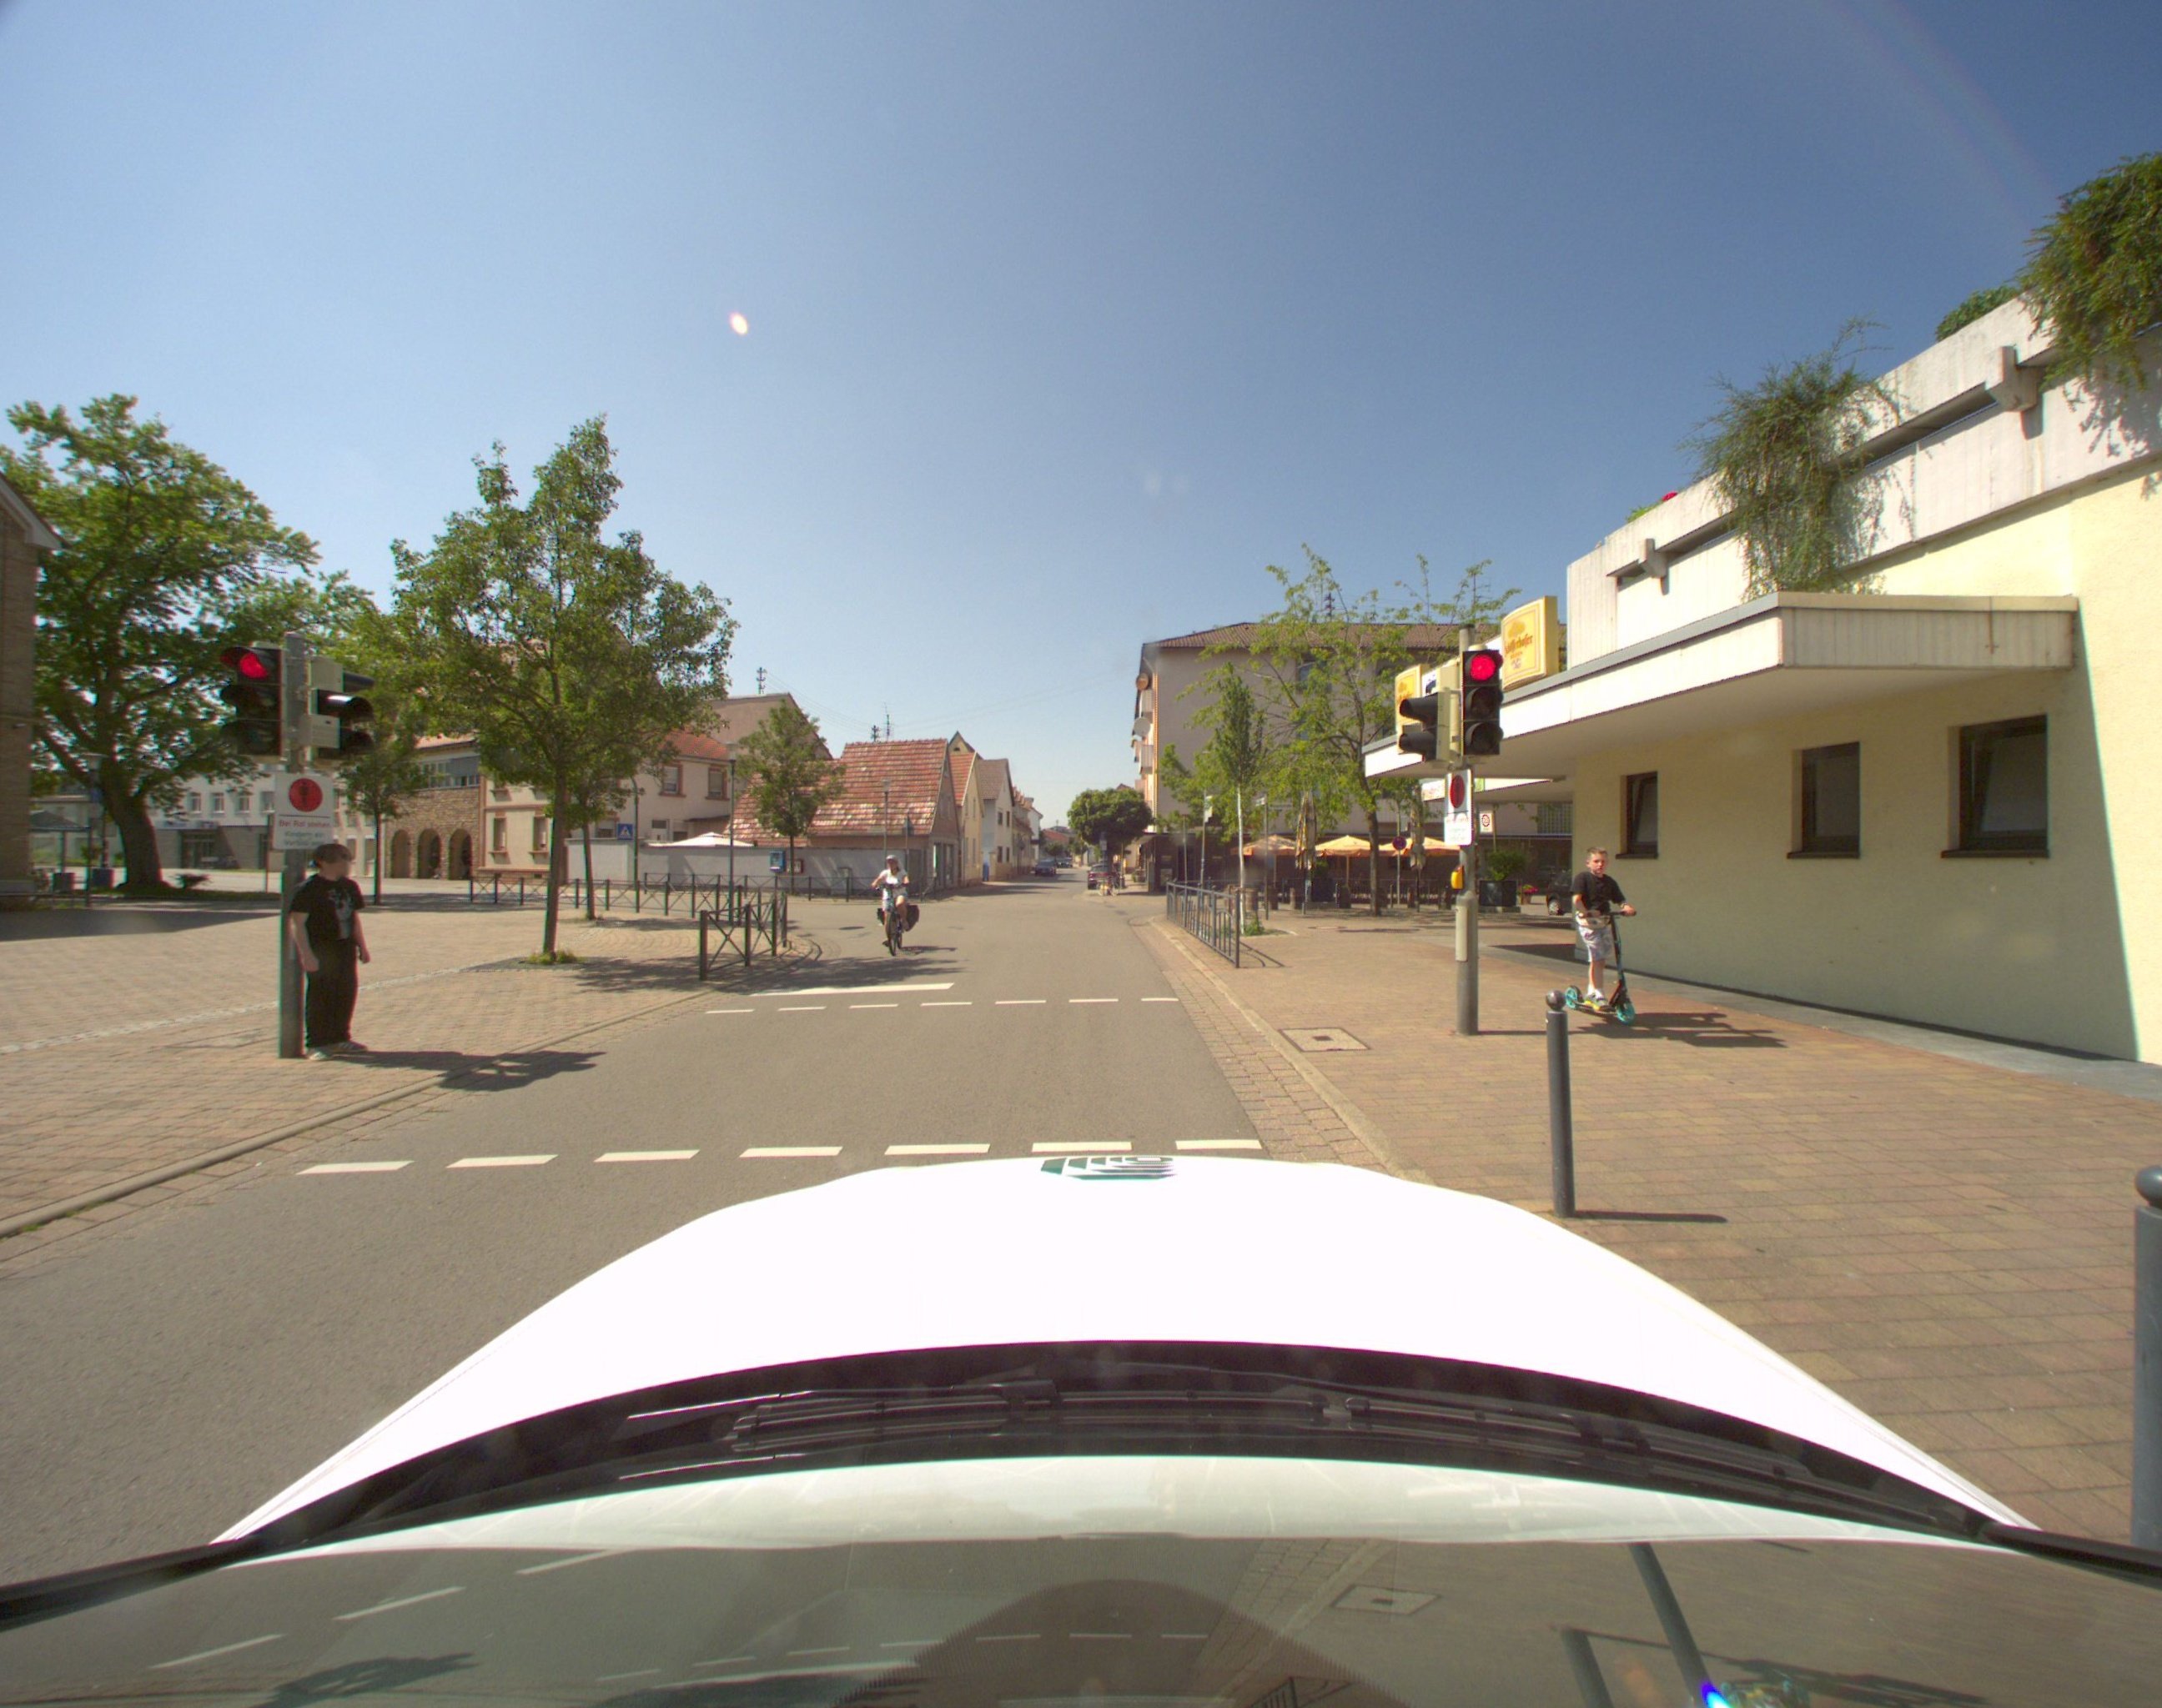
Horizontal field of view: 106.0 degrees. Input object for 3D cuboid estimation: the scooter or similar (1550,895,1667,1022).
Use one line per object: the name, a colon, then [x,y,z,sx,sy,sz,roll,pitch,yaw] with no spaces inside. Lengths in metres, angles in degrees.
scooter or similar: [4.482,0.858,6.969,0.409,0.965,0.961,0,-1,3]

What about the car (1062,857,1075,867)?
car: [-2.244,1.432,145.586,2.023,1.598,4.503,0,-1,-4]

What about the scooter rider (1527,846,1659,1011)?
scooter rider: [4.414,0.600,7.093,0.460,1.325,1.134,0,-1,2]

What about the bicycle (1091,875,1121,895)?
bicycle: [1.192,1.475,38.673,1.396,0.897,0.468,-2,0,38]

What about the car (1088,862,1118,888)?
car: [1.300,1.190,47.302,1.569,1.454,3.489,0,-1,4]

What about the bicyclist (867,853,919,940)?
bicyclist: [-3.367,0.749,14.661,0.712,1.506,0.870,-1,-1,-2]

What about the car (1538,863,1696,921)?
car: [15.245,1.053,23.456,1.763,1.510,3.965,1,-1,-4]

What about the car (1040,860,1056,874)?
car: [-3.457,1.330,85.000,1.659,1.476,3.448,0,-1,-2]

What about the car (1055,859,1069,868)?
car: [-3.188,1.546,134.257,1.907,1.481,4.831,0,-1,-7]

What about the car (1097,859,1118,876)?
car: [2.662,1.326,81.161,2.035,1.689,4.843,0,-1,2]

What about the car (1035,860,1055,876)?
car: [-3.439,1.308,78.440,1.657,1.476,4.135,0,-1,1]

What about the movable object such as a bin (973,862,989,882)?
movable object such as a bin: [-7.015,1.258,57.091,1.096,1.366,0.390,0,-1,5]

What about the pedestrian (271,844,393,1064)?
pedestrian: [-5.876,0.742,6.398,0.543,1.619,0.561,-1,-2,35]

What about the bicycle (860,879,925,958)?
bicycle: [-3.357,1.108,14.687,0.706,1.252,1.971,-2,-1,-2]
